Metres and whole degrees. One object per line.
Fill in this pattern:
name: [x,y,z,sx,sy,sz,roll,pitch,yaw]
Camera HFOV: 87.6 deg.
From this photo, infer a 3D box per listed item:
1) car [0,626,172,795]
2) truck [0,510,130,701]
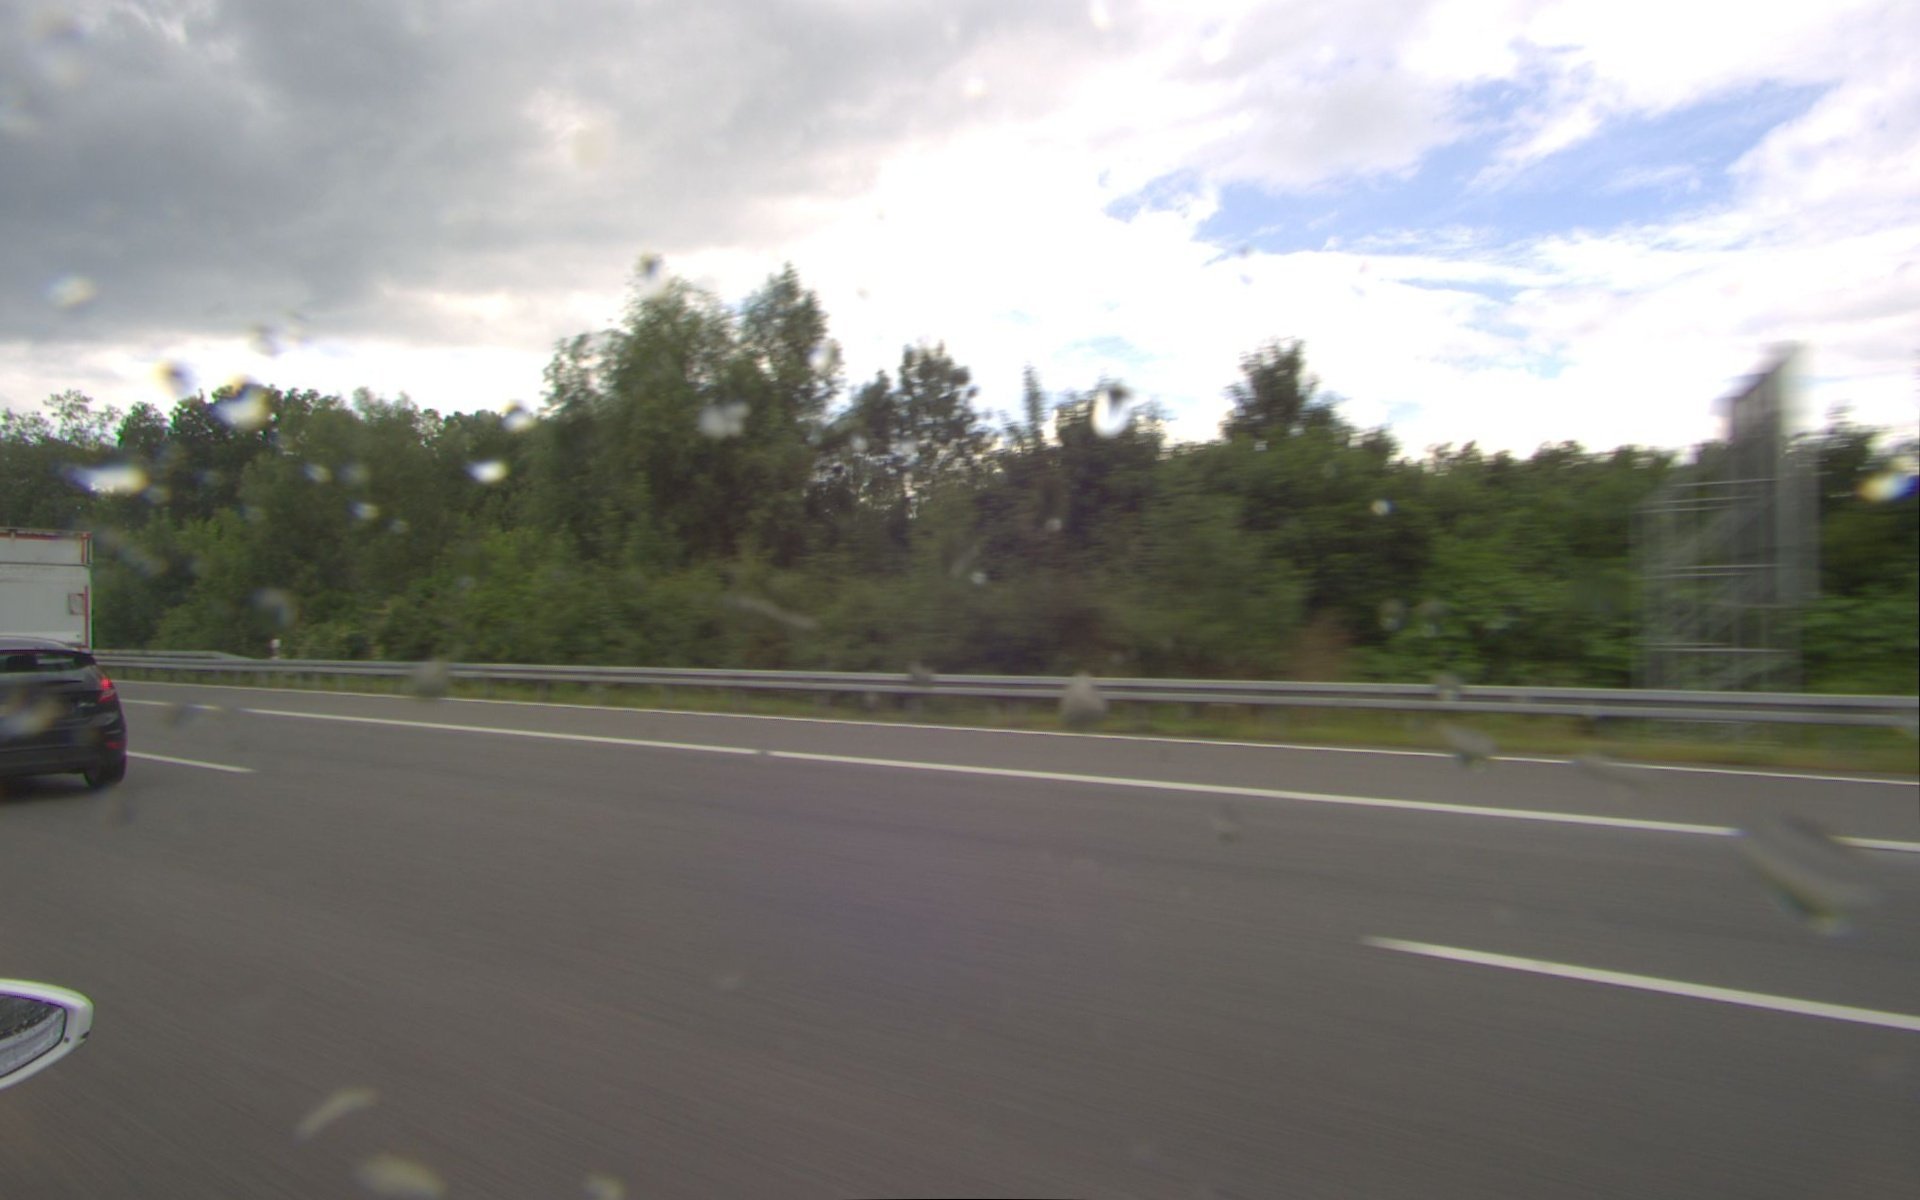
car: [-9.805,0.978,9.913,4.221,1.425,1.881,-1,-1,32]
truck: [-22.741,0.174,22.839,9.708,3.758,3.127,-1,-1,33]
